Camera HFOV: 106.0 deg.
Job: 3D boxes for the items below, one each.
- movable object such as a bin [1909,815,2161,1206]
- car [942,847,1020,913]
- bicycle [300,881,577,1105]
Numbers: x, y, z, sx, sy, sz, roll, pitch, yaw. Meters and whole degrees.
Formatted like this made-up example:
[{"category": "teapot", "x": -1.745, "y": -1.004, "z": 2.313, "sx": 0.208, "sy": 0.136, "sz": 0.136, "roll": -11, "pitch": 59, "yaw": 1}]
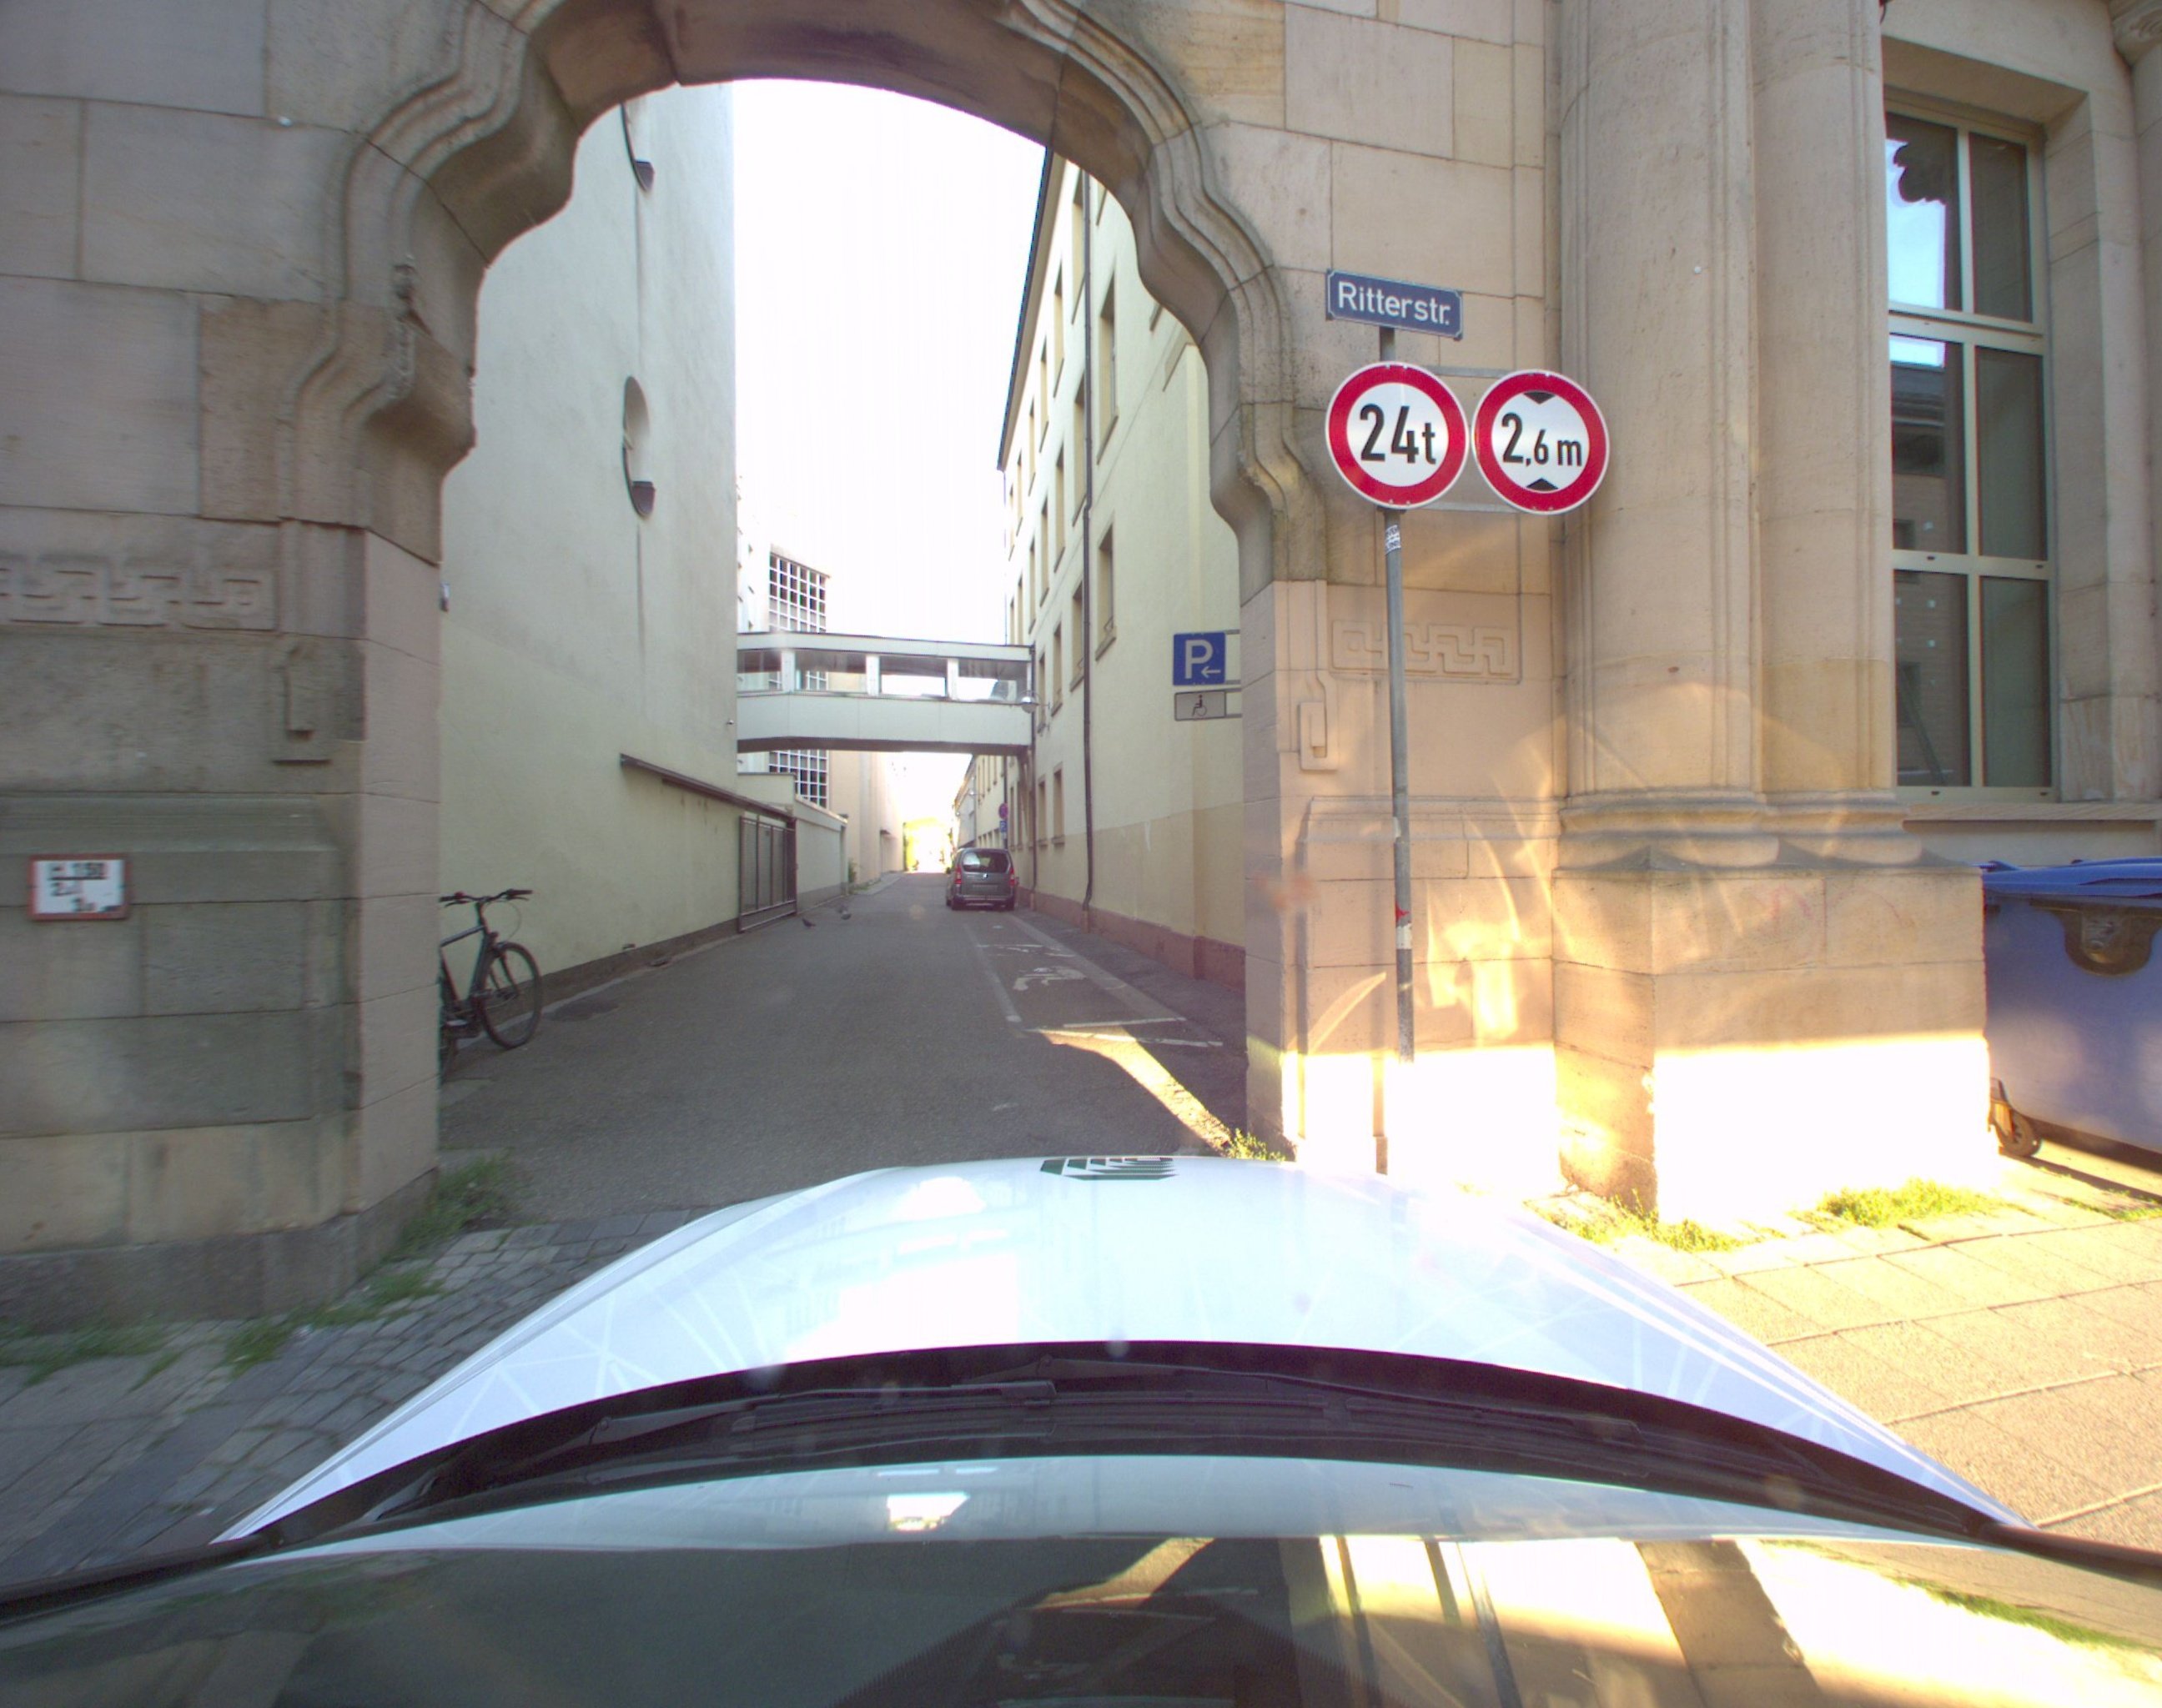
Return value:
[{"category": "movable object such as a bin", "x": 4.620, "y": 0.576, "z": 3.442, "sx": 1.182, "sy": 1.474, "sz": 1.075, "roll": -1, "pitch": 1, "yaw": -7}, {"category": "car", "x": -3.110, "y": 0.742, "z": 24.695, "sx": 1.857, "sy": 1.756, "sz": 4.143, "roll": 3, "pitch": -1, "yaw": -13}, {"category": "bicycle", "x": -3.841, "y": 0.735, "z": 5.065, "sx": 0.595, "sy": 1.079, "sz": 1.749, "roll": 0, "pitch": 0, "yaw": -10}]
